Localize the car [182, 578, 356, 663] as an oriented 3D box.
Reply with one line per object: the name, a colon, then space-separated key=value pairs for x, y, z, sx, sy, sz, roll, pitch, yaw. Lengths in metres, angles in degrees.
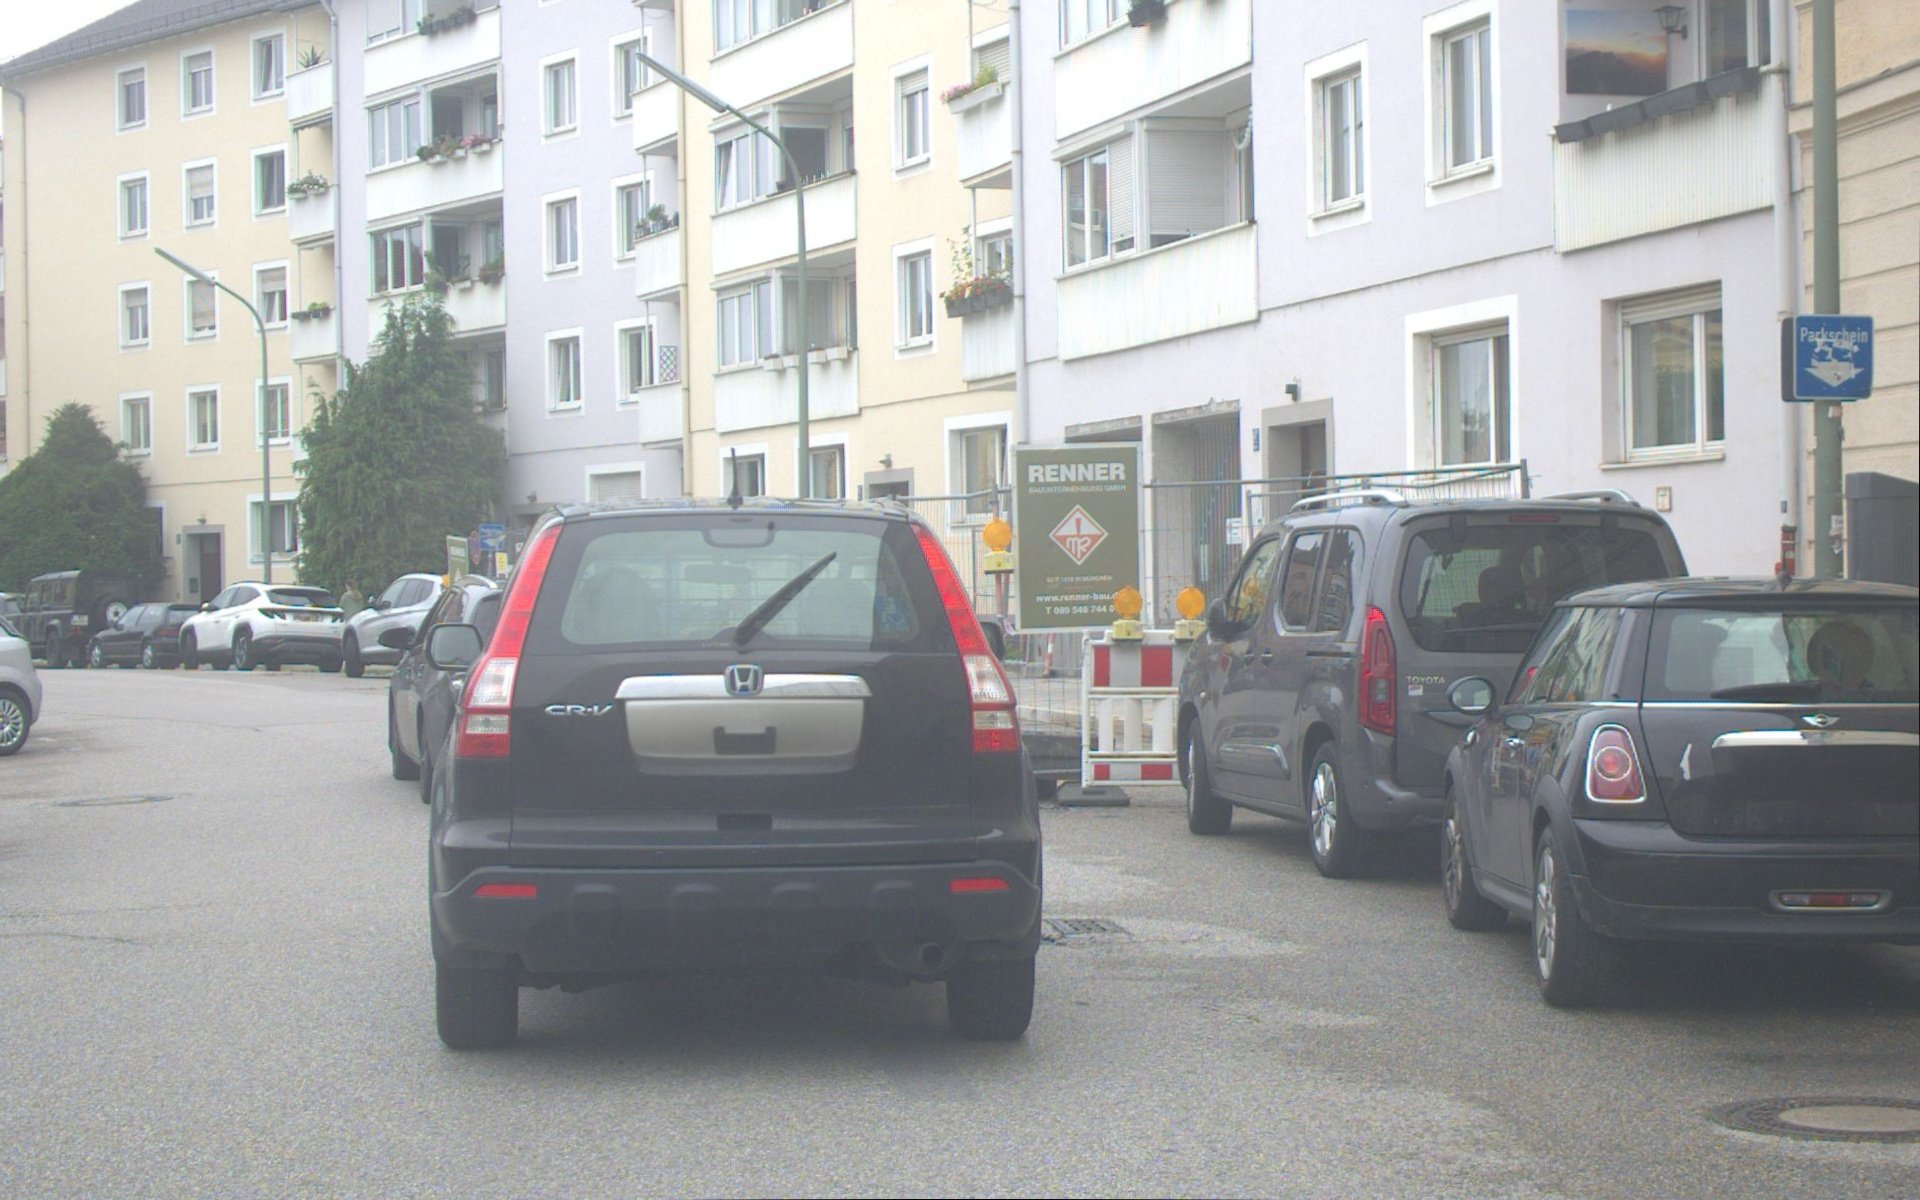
car: x=-12.685 y=0.342 z=62.967 sx=1.724 sy=1.478 sz=4.000 roll=0 pitch=1 yaw=-34

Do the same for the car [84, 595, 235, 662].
car: x=-15.667 y=0.537 z=67.159 sx=1.697 sy=1.232 sz=3.601 roll=0 pitch=1 yaw=-34

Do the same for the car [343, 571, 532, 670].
car: x=-8.274 y=0.288 z=54.200 sx=1.724 sy=1.478 sz=4.000 roll=0 pitch=1 yaw=-28

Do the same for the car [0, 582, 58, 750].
car: x=-10.188 y=0.739 z=30.176 sx=1.683 sy=1.476 sz=4.078 roll=-5 pitch=0 yaw=39

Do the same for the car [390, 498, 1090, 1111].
car: x=-0.799 y=0.536 z=11.363 sx=1.890 sy=1.642 sz=3.992 roll=-1 pitch=0 yaw=-6

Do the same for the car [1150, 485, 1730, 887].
car: x=2.292 y=0.374 z=17.630 sx=1.777 sy=1.800 sz=4.277 roll=1 pitch=0 yaw=-9

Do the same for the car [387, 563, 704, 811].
car: x=-2.842 y=0.511 z=22.882 sx=1.678 sy=1.476 sz=4.087 roll=-1 pitch=0 yaw=-13

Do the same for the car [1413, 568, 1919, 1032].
car: x=2.766 y=0.617 z=12.717 sx=1.708 sy=1.442 sz=3.829 roll=1 pitch=0 yaw=1

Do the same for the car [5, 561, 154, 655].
car: x=-18.202 y=0.142 z=70.963 sx=1.724 sy=1.871 sz=4.000 roll=0 pitch=1 yaw=-34
